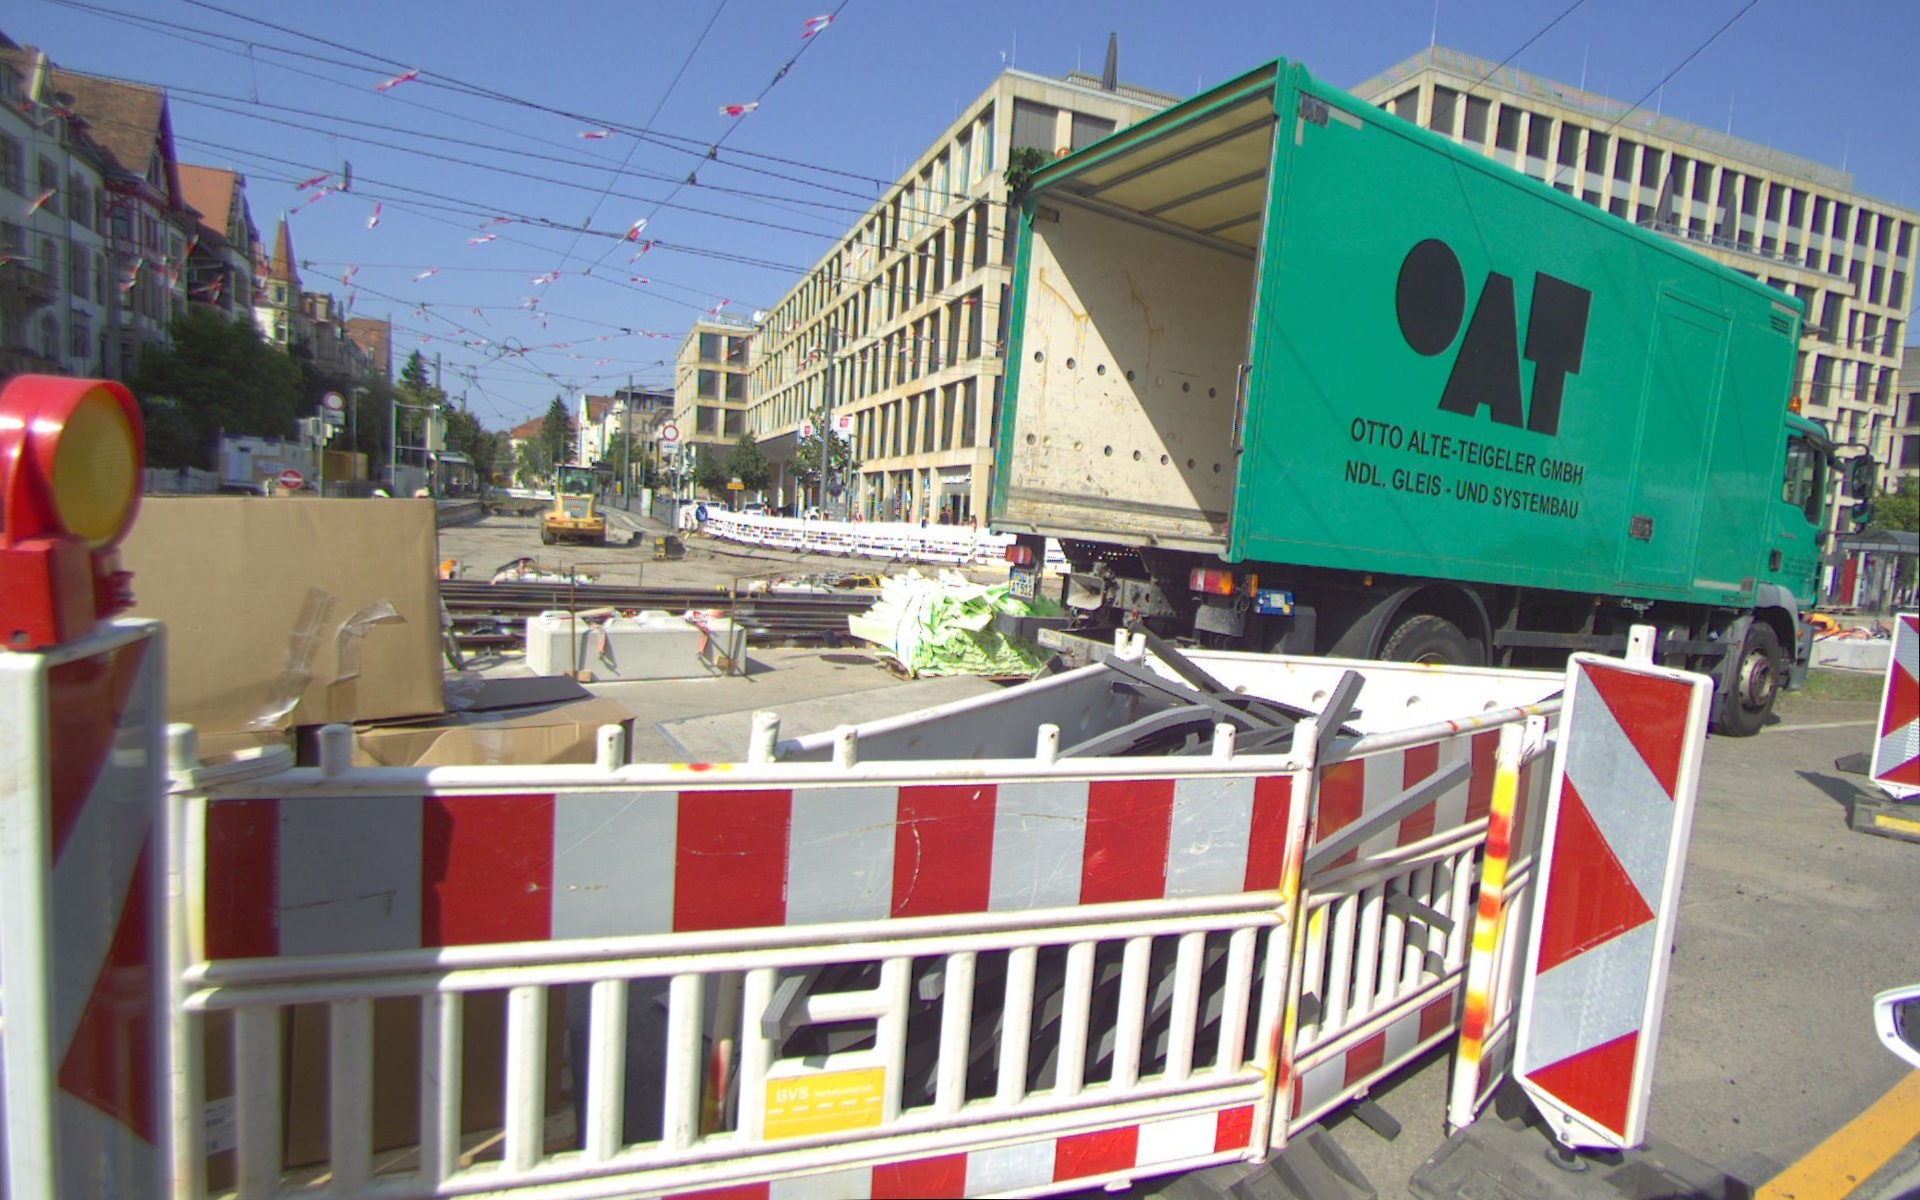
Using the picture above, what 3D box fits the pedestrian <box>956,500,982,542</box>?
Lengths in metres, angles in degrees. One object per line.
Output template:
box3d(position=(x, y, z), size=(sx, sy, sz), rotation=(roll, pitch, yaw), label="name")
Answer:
box3d(position=(0.371, -3.274, 41.838), size=(0.827, 1.691, 0.727), rotation=(2, 4, -19), label="pedestrian")

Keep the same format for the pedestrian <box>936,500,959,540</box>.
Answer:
box3d(position=(-0.536, -3.469, 43.445), size=(0.719, 1.691, 0.641), rotation=(2, 4, -21), label="pedestrian")

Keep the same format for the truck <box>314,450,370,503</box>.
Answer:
box3d(position=(-40.368, -7.999, 65.771), size=(2.207, 3.085, 6.318), rotation=(1, 5, -23), label="truck")

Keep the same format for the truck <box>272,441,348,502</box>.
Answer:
box3d(position=(-37.086, -7.265, 57.520), size=(2.594, 3.085, 6.318), rotation=(1, 5, -23), label="truck")

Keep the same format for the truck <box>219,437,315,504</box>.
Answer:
box3d(position=(-33.753, -6.237, 49.120), size=(2.653, 2.853, 6.005), rotation=(1, 5, -23), label="truck")

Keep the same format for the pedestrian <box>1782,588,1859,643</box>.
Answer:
box3d(position=(16.432, 0.300, 19.189), size=(0.868, 0.968, 0.699), rotation=(1, 5, -21), label="pedestrian")

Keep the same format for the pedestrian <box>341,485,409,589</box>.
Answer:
box3d(position=(-10.213, -1.101, 17.544), size=(0.744, 1.725, 0.741), rotation=(3, 4, -2), label="pedestrian")

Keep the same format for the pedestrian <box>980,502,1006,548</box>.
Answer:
box3d(position=(1.292, -2.912, 39.000), size=(0.719, 1.691, 0.763), rotation=(2, 4, -18), label="pedestrian")

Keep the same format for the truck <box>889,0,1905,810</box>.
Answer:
box3d(position=(4.084, -0.955, 8.259), size=(8.911, 3.840, 2.793), rotation=(1, 4, -31), label="truck")

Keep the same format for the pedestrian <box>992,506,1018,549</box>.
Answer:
box3d(position=(1.794, -2.897, 40.106), size=(0.719, 1.691, 0.763), rotation=(2, 4, -18), label="pedestrian")

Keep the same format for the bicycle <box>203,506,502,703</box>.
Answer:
box3d(position=(-4.194, -0.028, 7.105), size=(0.662, 1.164, 1.800), rotation=(6, 5, 17), label="bicycle")

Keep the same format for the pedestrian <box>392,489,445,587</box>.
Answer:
box3d(position=(-9.932, -1.141, 18.452), size=(0.748, 1.725, 0.737), rotation=(1, 5, -22), label="pedestrian")

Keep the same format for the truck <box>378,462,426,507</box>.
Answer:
box3d(position=(-38.242, -7.857, 68.946), size=(2.207, 2.828, 6.318), rotation=(1, 5, -23), label="truck")

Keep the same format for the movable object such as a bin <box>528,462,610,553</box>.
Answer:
box3d(position=(-14.036, -3.356, 36.351), size=(2.453, 2.827, 5.493), rotation=(3, 5, -20), label="movable object such as a bin")

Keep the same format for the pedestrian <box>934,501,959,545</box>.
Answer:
box3d(position=(-0.552, -3.044, 39.920), size=(0.719, 1.691, 0.763), rotation=(2, 4, -18), label="pedestrian")

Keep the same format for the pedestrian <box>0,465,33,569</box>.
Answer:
box3d(position=(-11.994, -1.043, 12.436), size=(0.540, 1.264, 0.674), rotation=(1, 5, -22), label="pedestrian")
